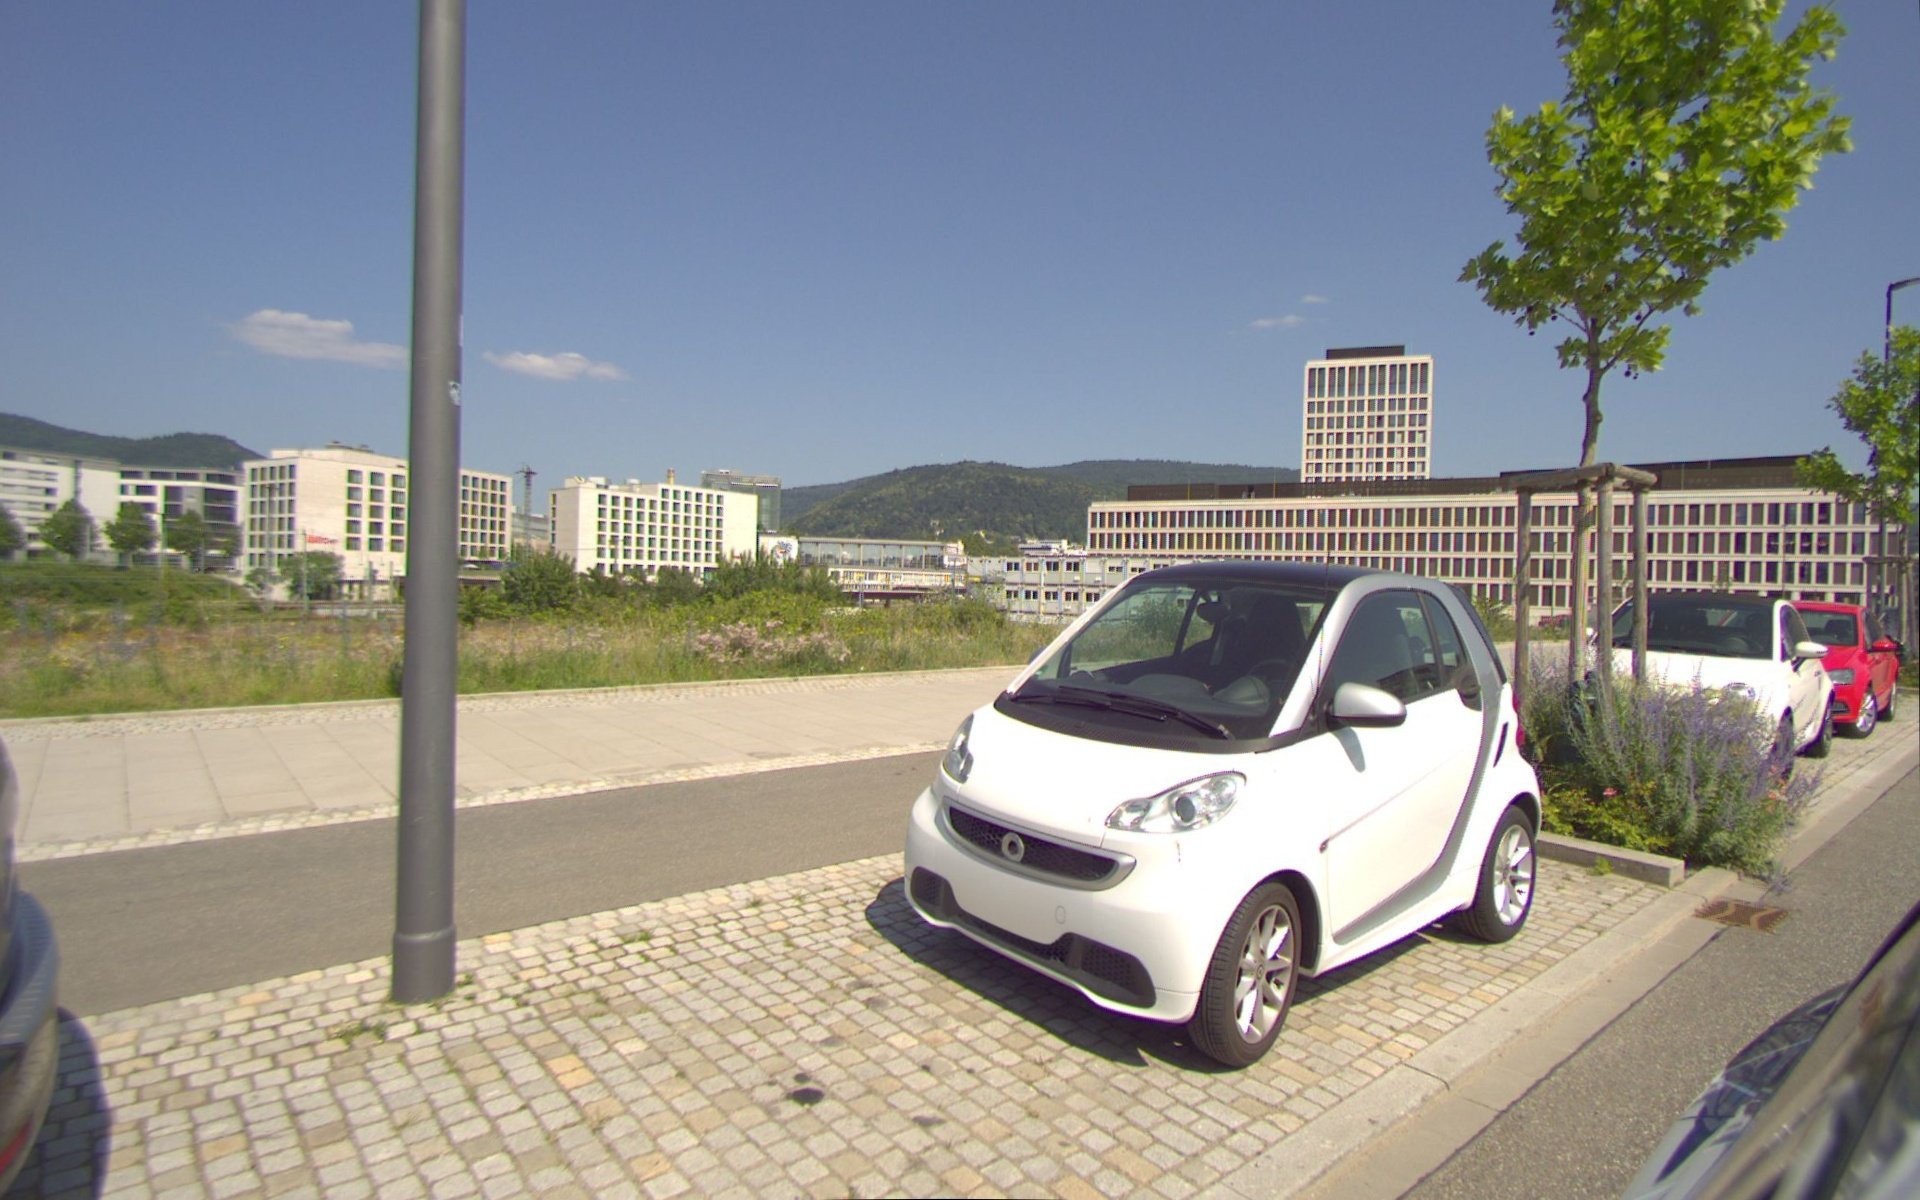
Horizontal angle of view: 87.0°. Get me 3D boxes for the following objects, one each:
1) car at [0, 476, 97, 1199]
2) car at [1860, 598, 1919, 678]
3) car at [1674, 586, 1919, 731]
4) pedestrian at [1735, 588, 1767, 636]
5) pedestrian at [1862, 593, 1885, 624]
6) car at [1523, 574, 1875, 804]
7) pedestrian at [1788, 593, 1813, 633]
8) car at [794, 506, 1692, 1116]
[{"bbox_3d":[-3.463,0.545,0.687,4.300,1.495,1.791,-1,4,-44],"label":"car"},{"bbox_3d":[18.916,0.719,19.682,4.167,1.448,1.634,1,-3,-42],"label":"car"},{"bbox_3d":[10.206,0.643,12.221,3.929,1.470,1.720,2,-1,-41],"label":"car"},{"bbox_3d":[29.216,0.426,37.384,0.729,1.726,0.782,1,1,-40],"label":"pedestrian"},{"bbox_3d":[50.822,0.477,56.322,0.932,1.628,0.752,1,3,-41],"label":"pedestrian"},{"bbox_3d":[6.678,0.593,9.028,3.579,1.542,1.721,-2,4,-41],"label":"car"},{"bbox_3d":[36.870,0.579,44.412,0.639,1.727,0.733,0,0,-40],"label":"pedestrian"},{"bbox_3d":[1.517,0.537,4.660,4.081,1.597,1.914,1,1,-38],"label":"car"}]
